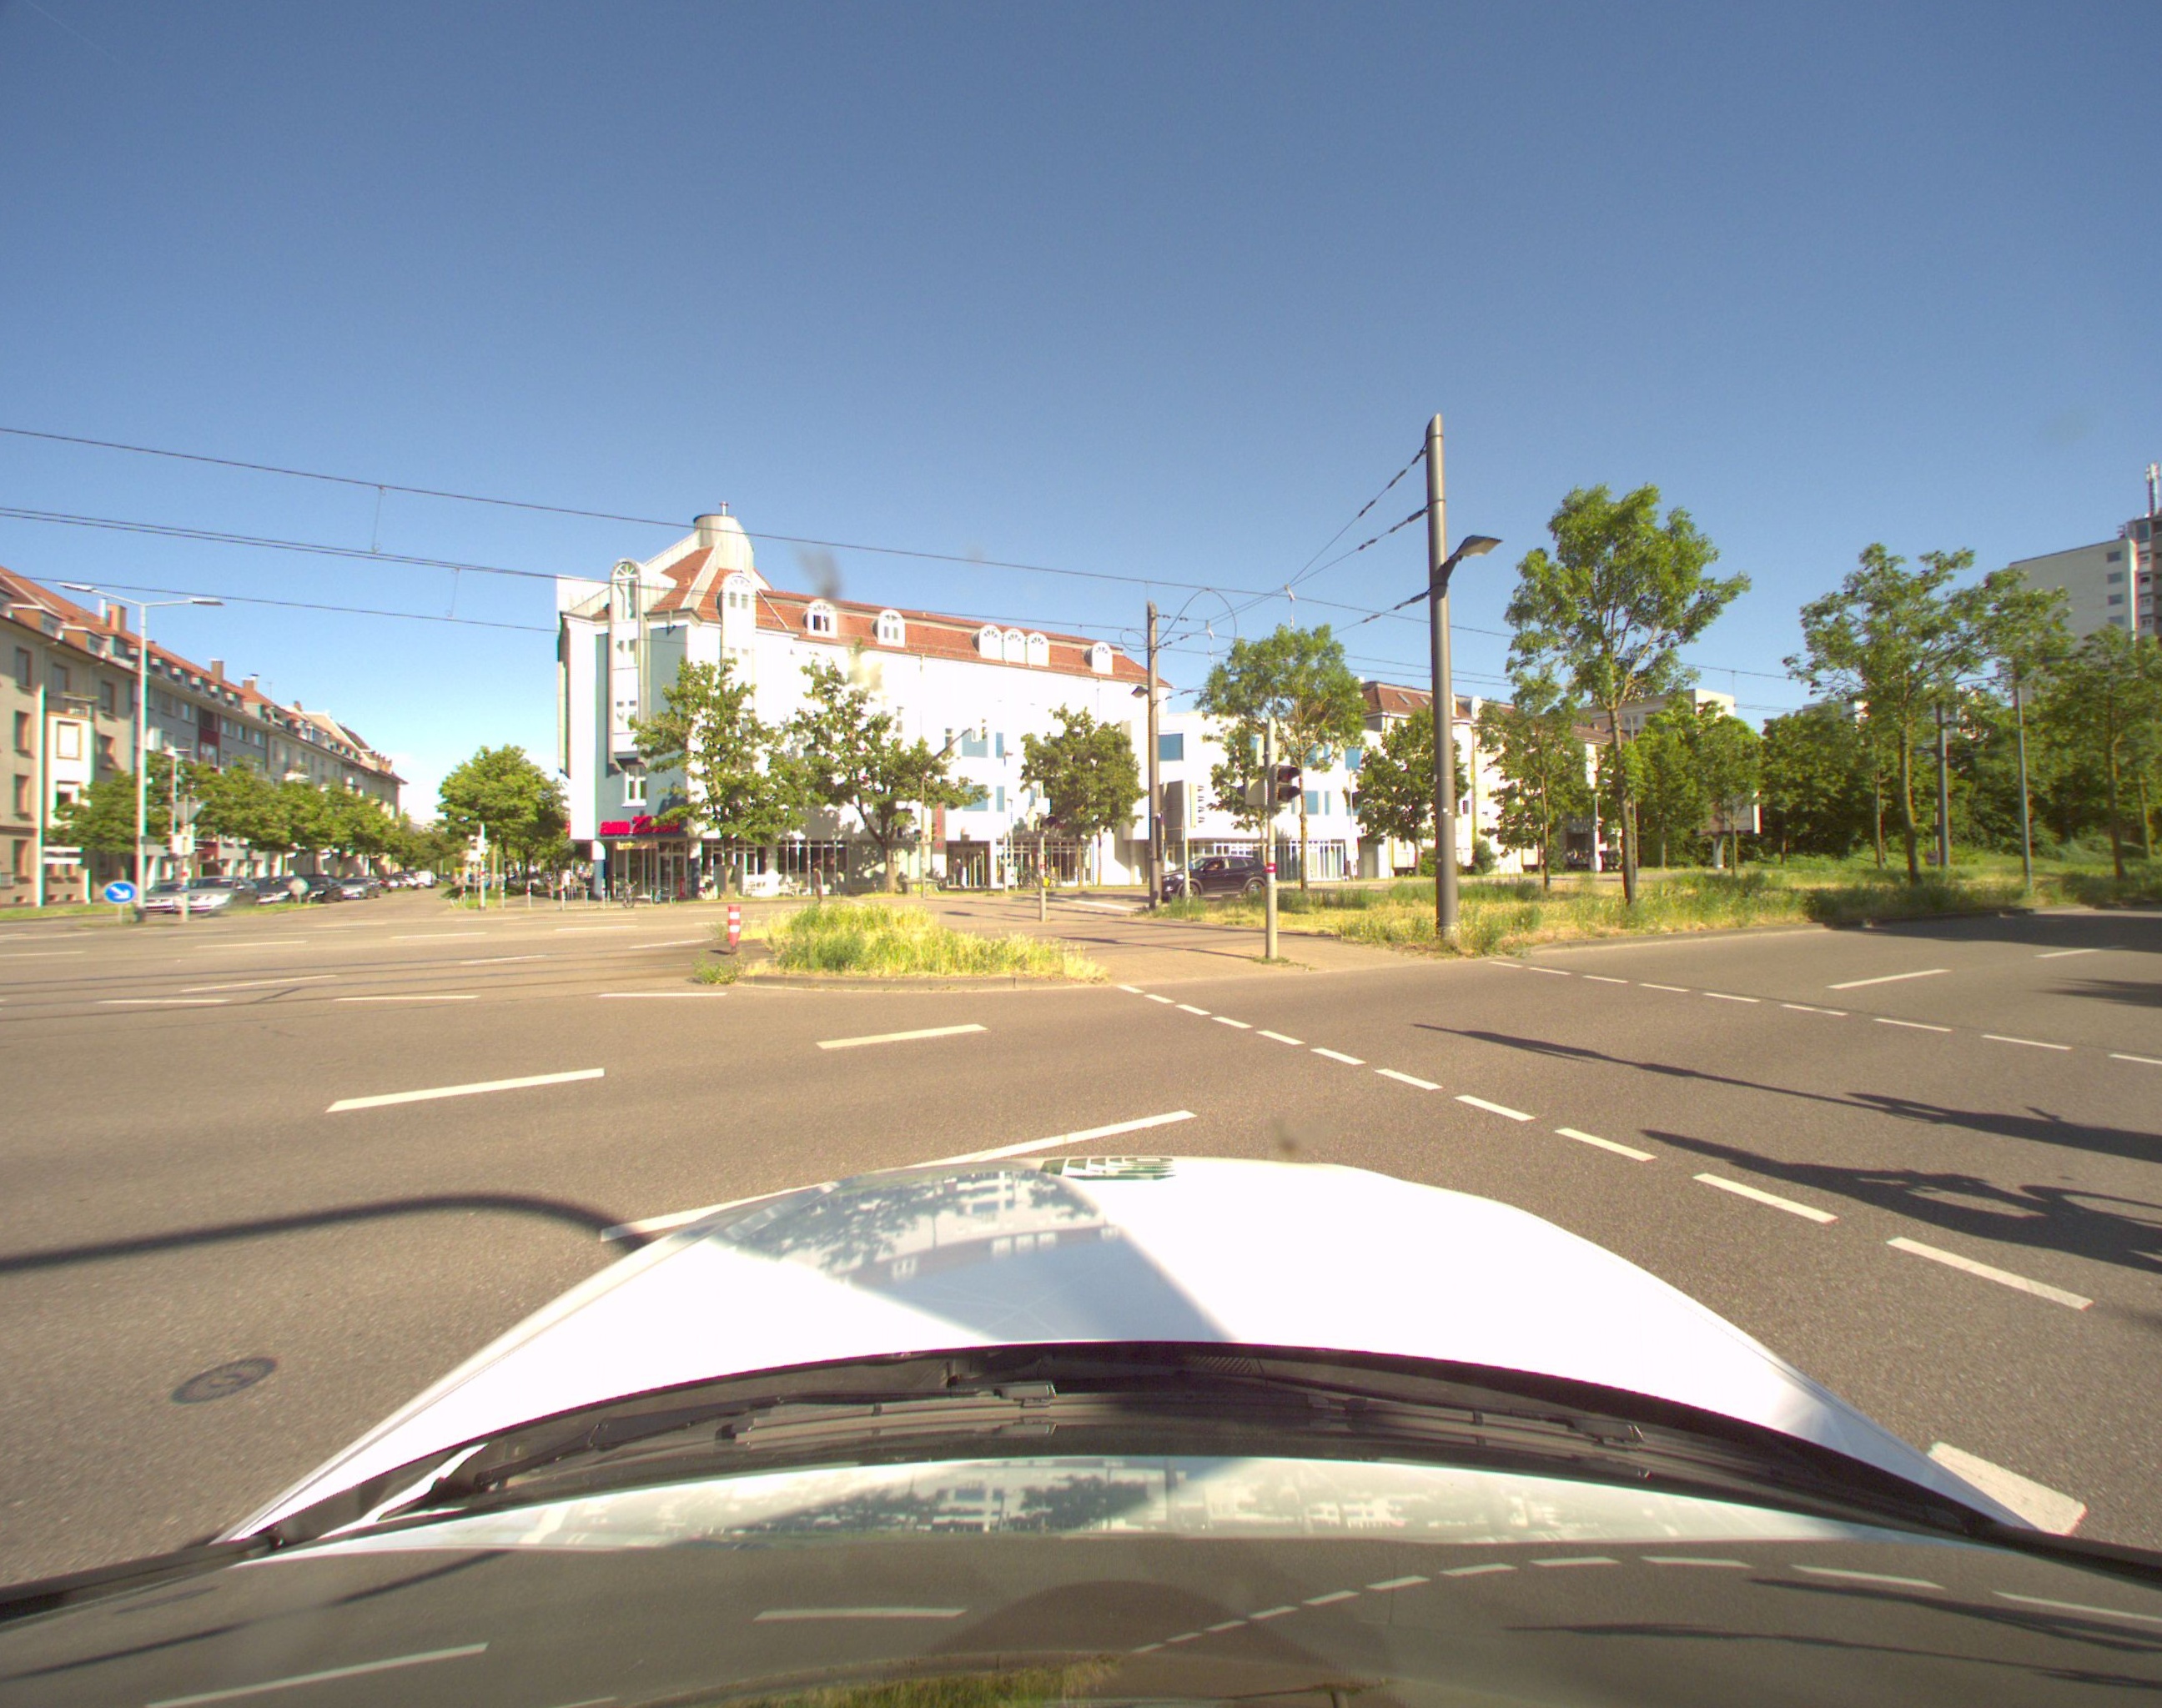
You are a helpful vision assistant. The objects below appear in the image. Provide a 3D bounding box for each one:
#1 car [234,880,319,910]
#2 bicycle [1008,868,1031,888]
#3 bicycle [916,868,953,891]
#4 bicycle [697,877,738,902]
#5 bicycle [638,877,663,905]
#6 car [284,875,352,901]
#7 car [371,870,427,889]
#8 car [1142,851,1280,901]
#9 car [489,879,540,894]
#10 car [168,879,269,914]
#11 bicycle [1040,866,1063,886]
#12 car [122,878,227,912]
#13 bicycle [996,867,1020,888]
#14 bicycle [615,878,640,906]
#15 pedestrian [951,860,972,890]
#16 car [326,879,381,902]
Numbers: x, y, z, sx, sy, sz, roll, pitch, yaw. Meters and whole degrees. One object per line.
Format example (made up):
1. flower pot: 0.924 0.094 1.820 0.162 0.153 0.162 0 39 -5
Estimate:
1. car: -40.588 2.061 41.214 1.697 1.432 4.361 2 -3 -26
2. bicycle: -3.605 1.407 47.776 0.564 1.182 1.851 -1 -1 -32
3. bicycle: -7.803 1.350 43.556 1.877 1.182 0.556 -1 -1 -35
4. bicycle: -15.284 1.488 34.250 1.516 1.027 0.470 -1 -1 -21
5. bicycle: -16.634 1.427 31.437 0.475 1.027 1.498 0 -1 -43
6. car: -43.485 1.922 46.501 1.697 1.432 4.359 2 -3 -28
7. car: -76.853 2.882 91.868 4.537 2.014 1.979 1 -3 -34
8. car: 4.642 0.761 29.160 4.518 1.609 1.985 -1 -1 -22
9. car: -50.196 2.872 72.227 3.591 1.223 1.713 0 -2 -32
10. car: -37.502 1.827 35.550 1.698 1.432 4.358 2 -3 -29
11. bicycle: -1.779 1.314 48.390 0.564 1.182 1.852 -1 -1 -29
12. car: -40.924 1.826 36.899 1.697 1.432 4.359 2 -3 -28
13. bicycle: -4.228 1.369 47.047 0.564 1.182 1.851 -1 -1 -32
14. bicycle: -17.041 1.420 30.594 0.475 1.027 1.498 0 -1 -42
15. pedestrian: -6.864 1.201 46.925 0.996 1.723 0.647 -1 -1 -32
16. car: -47.939 2.366 53.737 1.698 1.432 4.358 2 -3 -29
